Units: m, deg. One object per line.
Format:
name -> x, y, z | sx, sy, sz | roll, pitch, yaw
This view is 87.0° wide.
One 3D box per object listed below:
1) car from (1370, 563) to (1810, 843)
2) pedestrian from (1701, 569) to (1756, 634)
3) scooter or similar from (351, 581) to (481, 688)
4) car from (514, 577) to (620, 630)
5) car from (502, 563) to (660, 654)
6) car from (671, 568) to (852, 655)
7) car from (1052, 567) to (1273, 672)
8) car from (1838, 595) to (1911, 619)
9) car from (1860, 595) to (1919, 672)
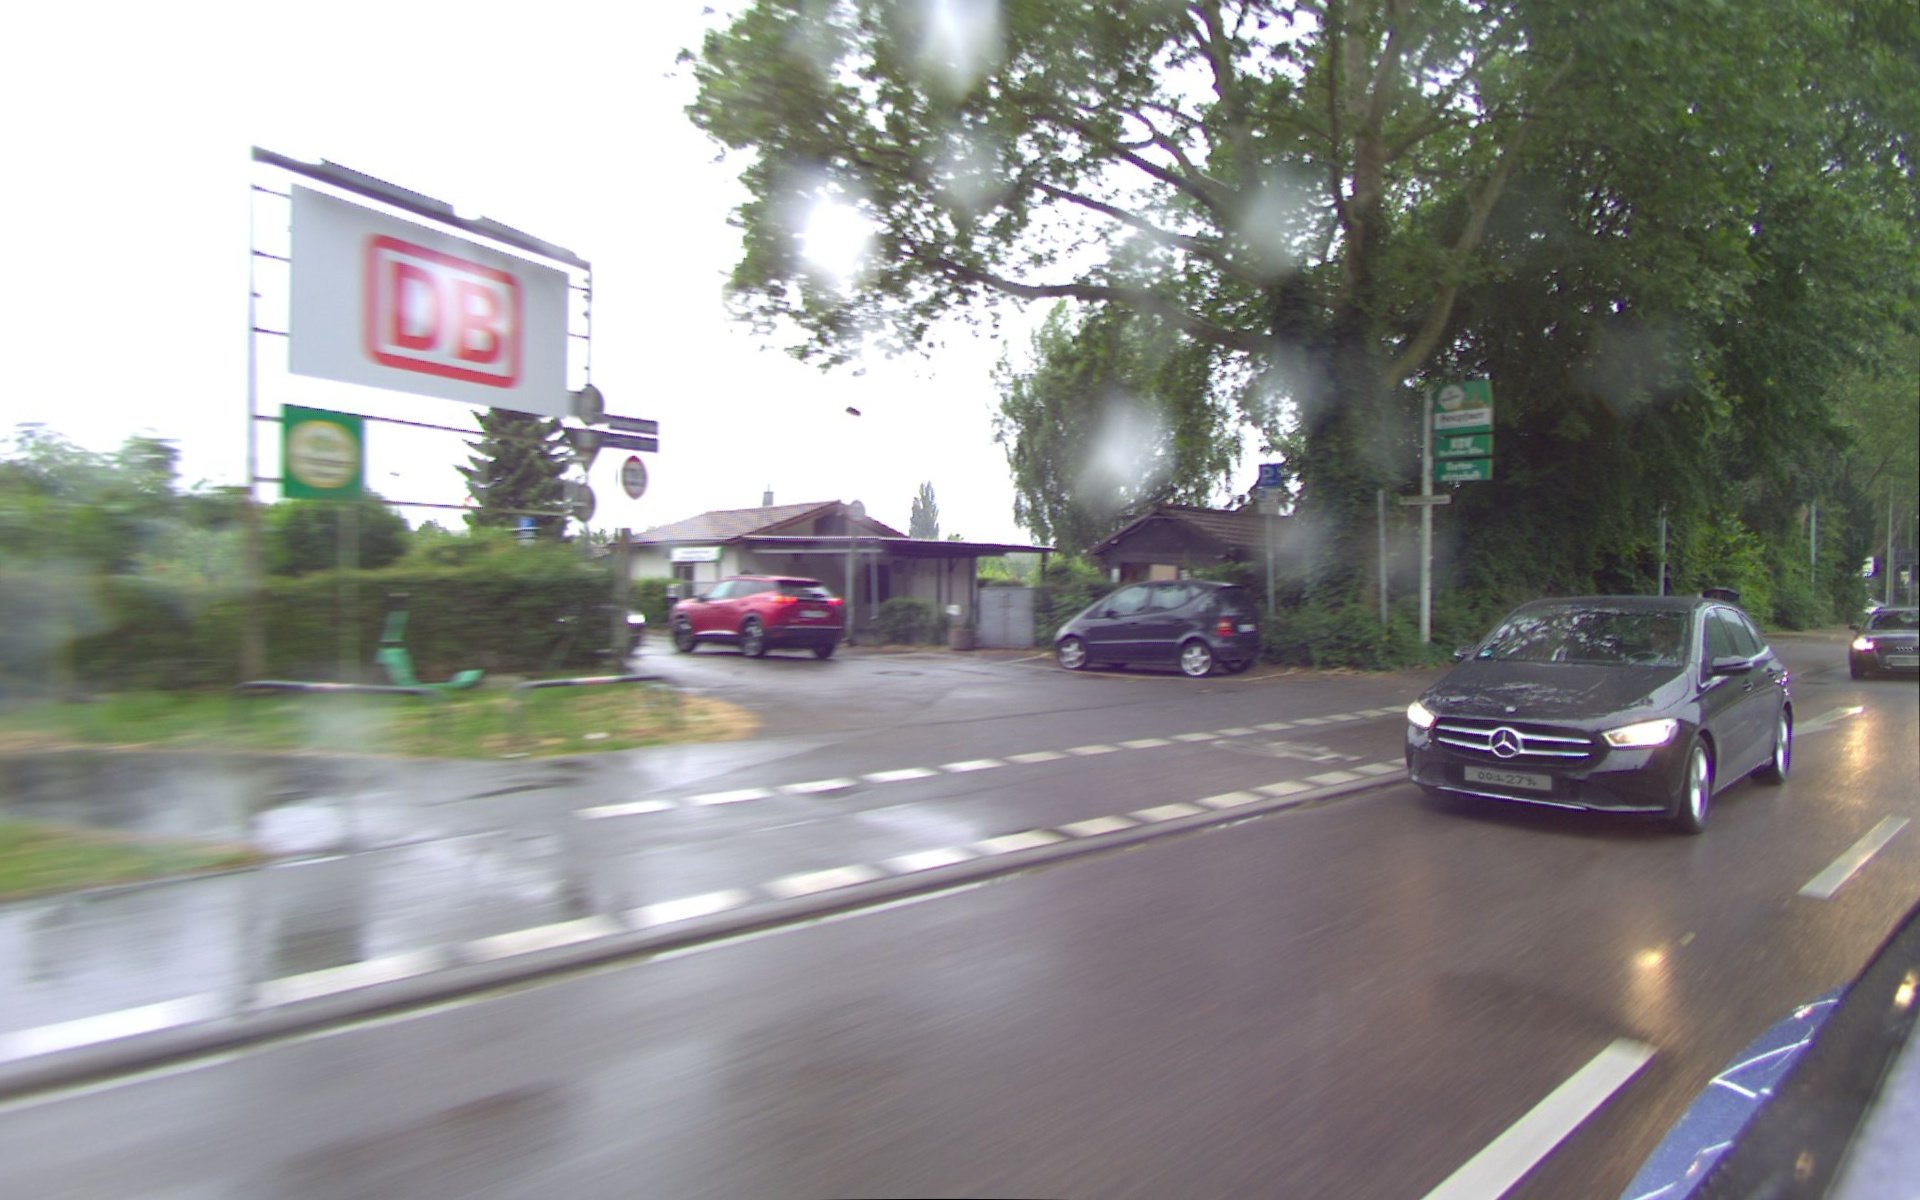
car -> 5.021, 0.567, 7.776 | 4.348, 1.549, 1.818 | 0, -1, -43
pedestrian -> 21.070, 0.053, 27.749 | 1.121, 1.724, 0.968 | 0, -2, -42
scooter or similar -> -6.025, 0.366, 11.249 | 1.250, 1.131, 0.460 | 0, -1, -29
car -> -11.812, 0.100, 30.322 | 1.699, 1.477, 3.630 | 2, -1, -44
car -> -7.063, 0.154, 18.720 | 1.629, 1.516, 3.386 | 2, -1, -41
car -> -3.886, 0.204, 19.463 | 1.769, 1.516, 3.632 | 2, -1, -42
car -> 3.446, 0.295, 17.433 | 3.375, 1.629, 1.634 | 1, -1, 40
car -> 57.781, 0.443, 64.043 | 1.580, 1.450, 3.550 | -1, 0, 6
car -> 19.236, 0.616, 20.069 | 3.716, 1.402, 1.640 | -1, 0, -41
